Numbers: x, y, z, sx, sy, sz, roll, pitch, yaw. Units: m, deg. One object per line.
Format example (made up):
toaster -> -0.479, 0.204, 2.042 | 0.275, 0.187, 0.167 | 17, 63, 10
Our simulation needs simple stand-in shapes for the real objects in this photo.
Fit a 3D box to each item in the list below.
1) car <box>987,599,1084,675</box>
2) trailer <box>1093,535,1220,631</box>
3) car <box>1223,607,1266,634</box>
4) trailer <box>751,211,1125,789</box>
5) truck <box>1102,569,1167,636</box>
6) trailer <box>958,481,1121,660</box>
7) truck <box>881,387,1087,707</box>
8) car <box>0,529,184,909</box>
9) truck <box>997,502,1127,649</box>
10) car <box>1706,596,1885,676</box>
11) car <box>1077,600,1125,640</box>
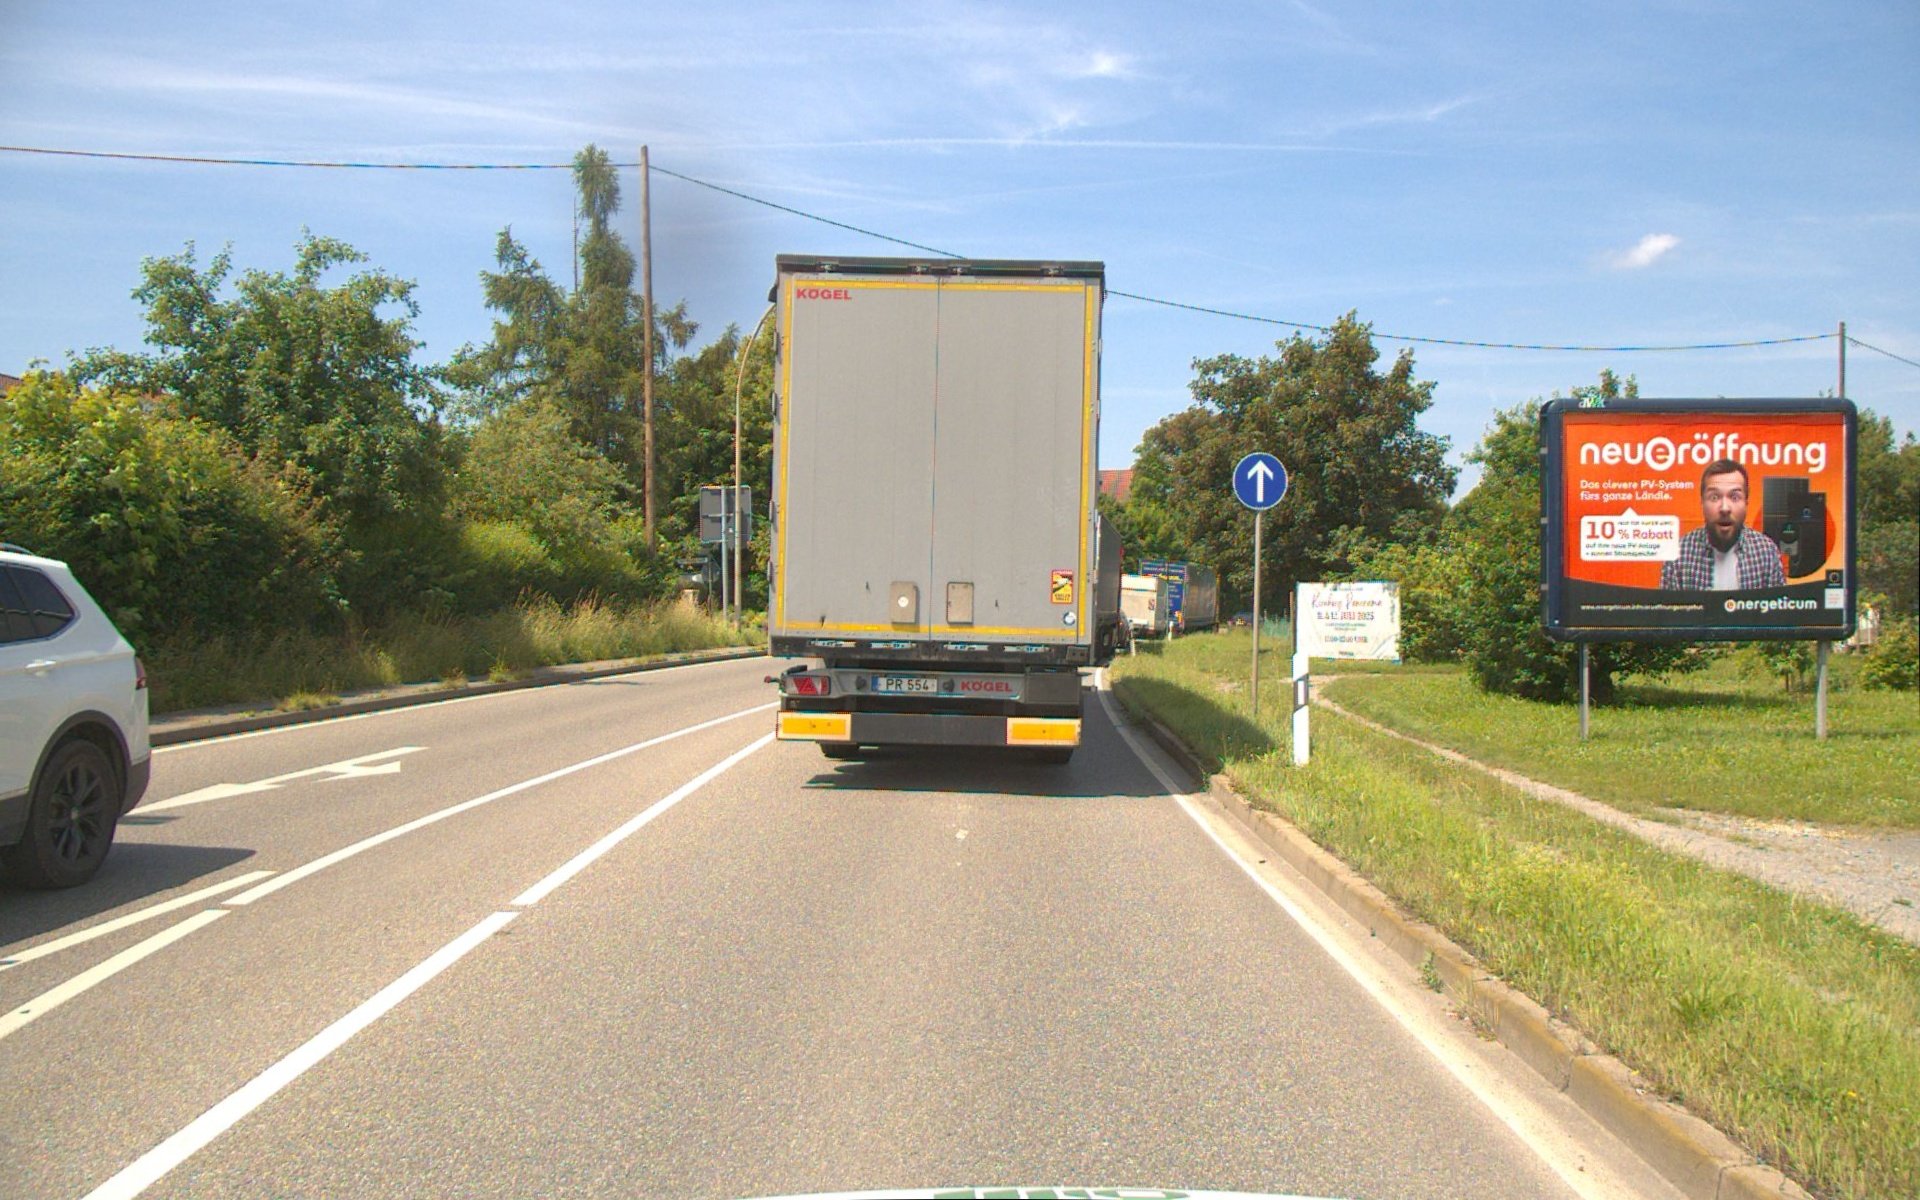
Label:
car -> 1.765, 0.787, 37.578 | 1.951, 1.556, 4.003 | 1, 1, 6
trailer -> 11.016, -0.891, 90.422 | 5.069, 4.709, 15.908 | 1, 1, 13
car -> 19.179, 1.365, 111.280 | 1.953, 1.713, 3.999 | 1, 1, 23
trailer -> 0.123, -0.813, 18.418 | 2.729, 4.278, 12.116 | 1, 1, 3
truck -> 7.978, 0.103, 75.124 | 2.369, 2.888, 5.417 | 1, 1, 11
trailer -> 2.673, -0.765, 49.248 | 3.808, 4.600, 12.723 | 1, 0, 7
truck -> 0.495, -0.741, 25.206 | 2.688, 4.238, 6.146 | 1, 0, 3
car -> -5.178, 0.518, 6.700 | 1.807, 1.684, 4.405 | 1, 1, 3
truck -> 3.607, -0.798, 56.350 | 3.853, 4.655, 7.157 | 1, 0, 8
car -> 22.859, 0.969, 45.374 | 3.902, 2.049, 2.002 | 1, 0, 7
car -> 5.749, 0.782, 67.083 | 1.802, 1.512, 4.003 | 1, 1, 7
